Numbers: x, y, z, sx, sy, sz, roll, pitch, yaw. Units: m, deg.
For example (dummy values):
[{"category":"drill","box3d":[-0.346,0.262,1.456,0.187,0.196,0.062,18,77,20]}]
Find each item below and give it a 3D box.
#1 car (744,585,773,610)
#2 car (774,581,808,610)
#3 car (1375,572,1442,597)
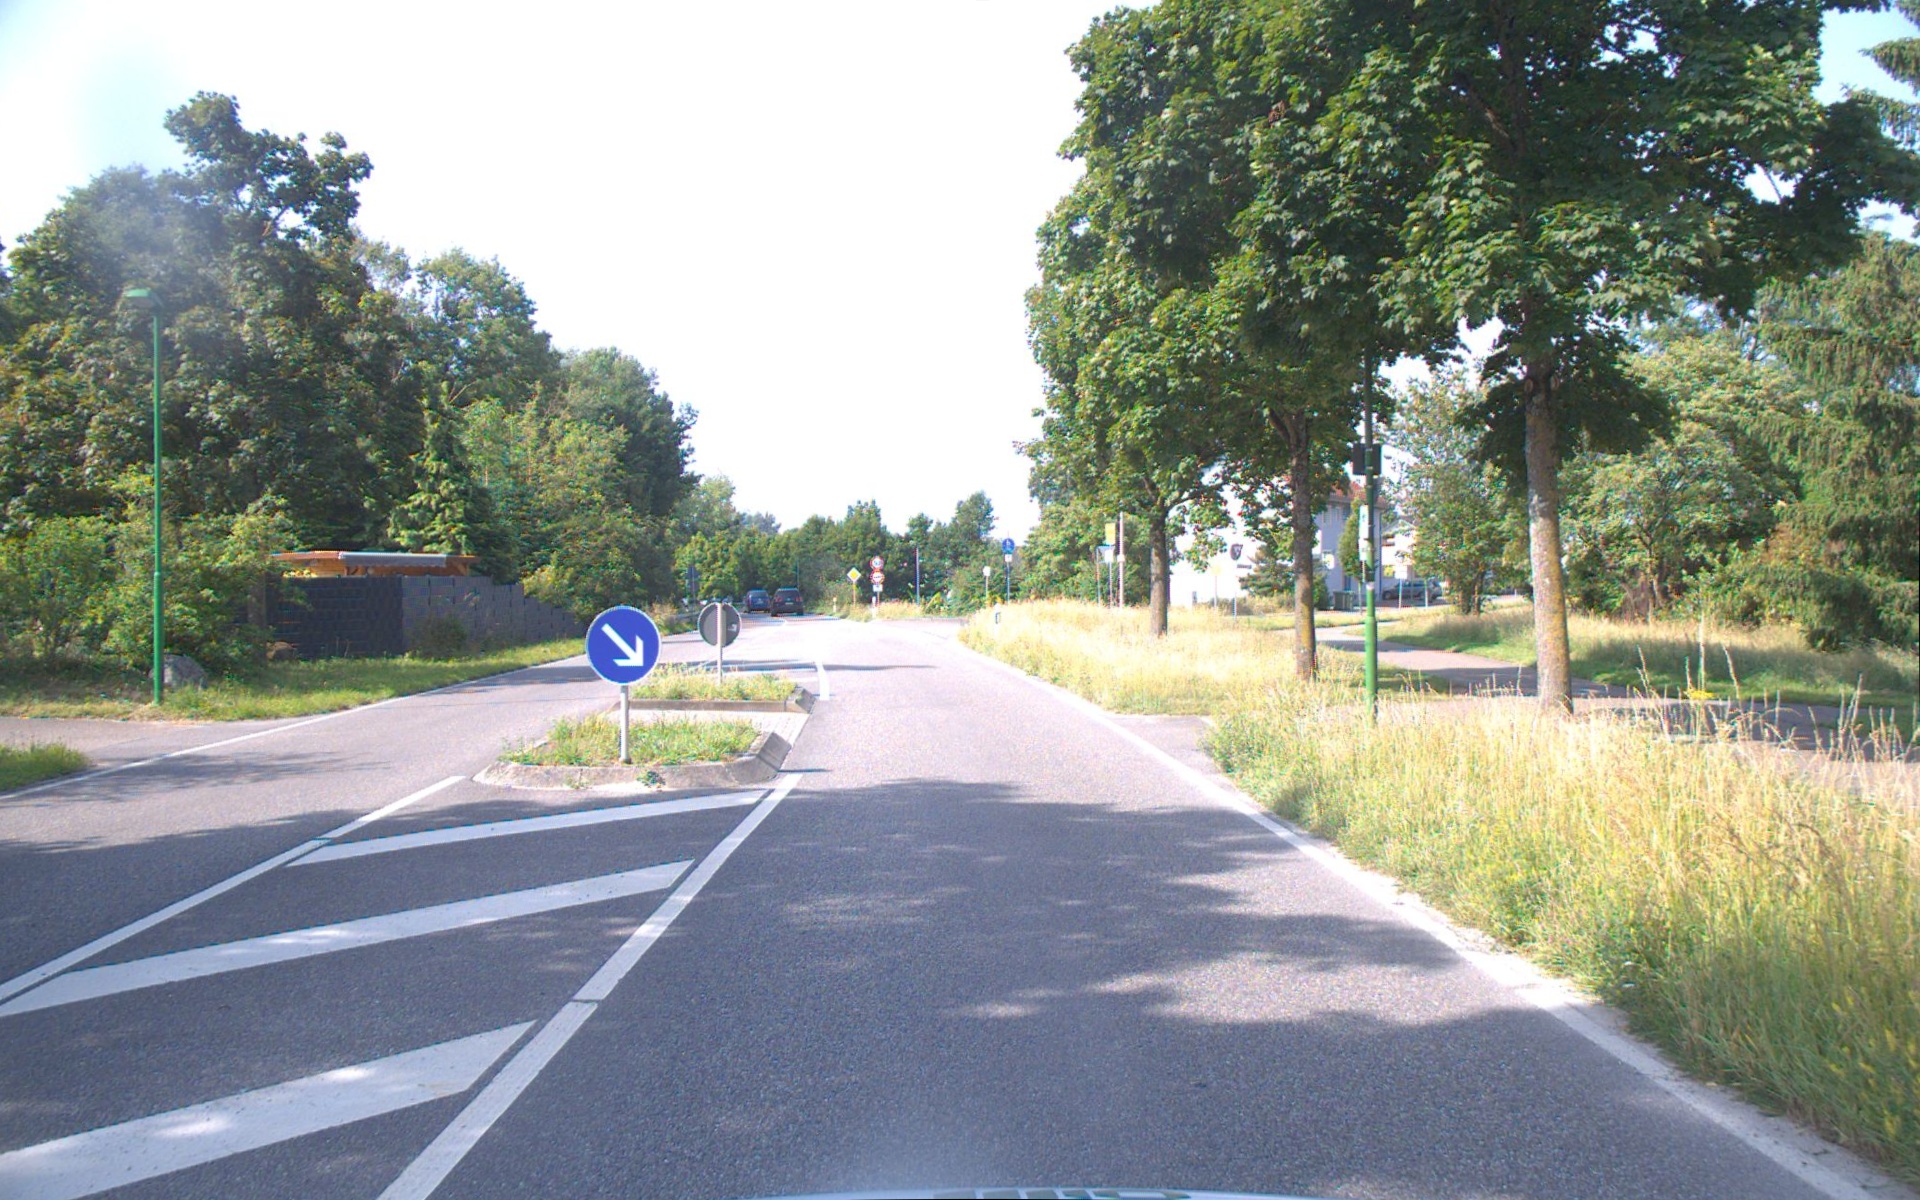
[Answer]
[{"category":"car","box3d":[-15.117,-0.224,123.918,1.968,1.802,3.990,0,1,-11]},{"category":"car","box3d":[-10.658,-0.293,104.085,1.889,1.802,3.992,0,1,-9]},{"category":"car","box3d":[32.649,-1.140,120.335,4.368,1.728,1.765,1,1,34]}]
